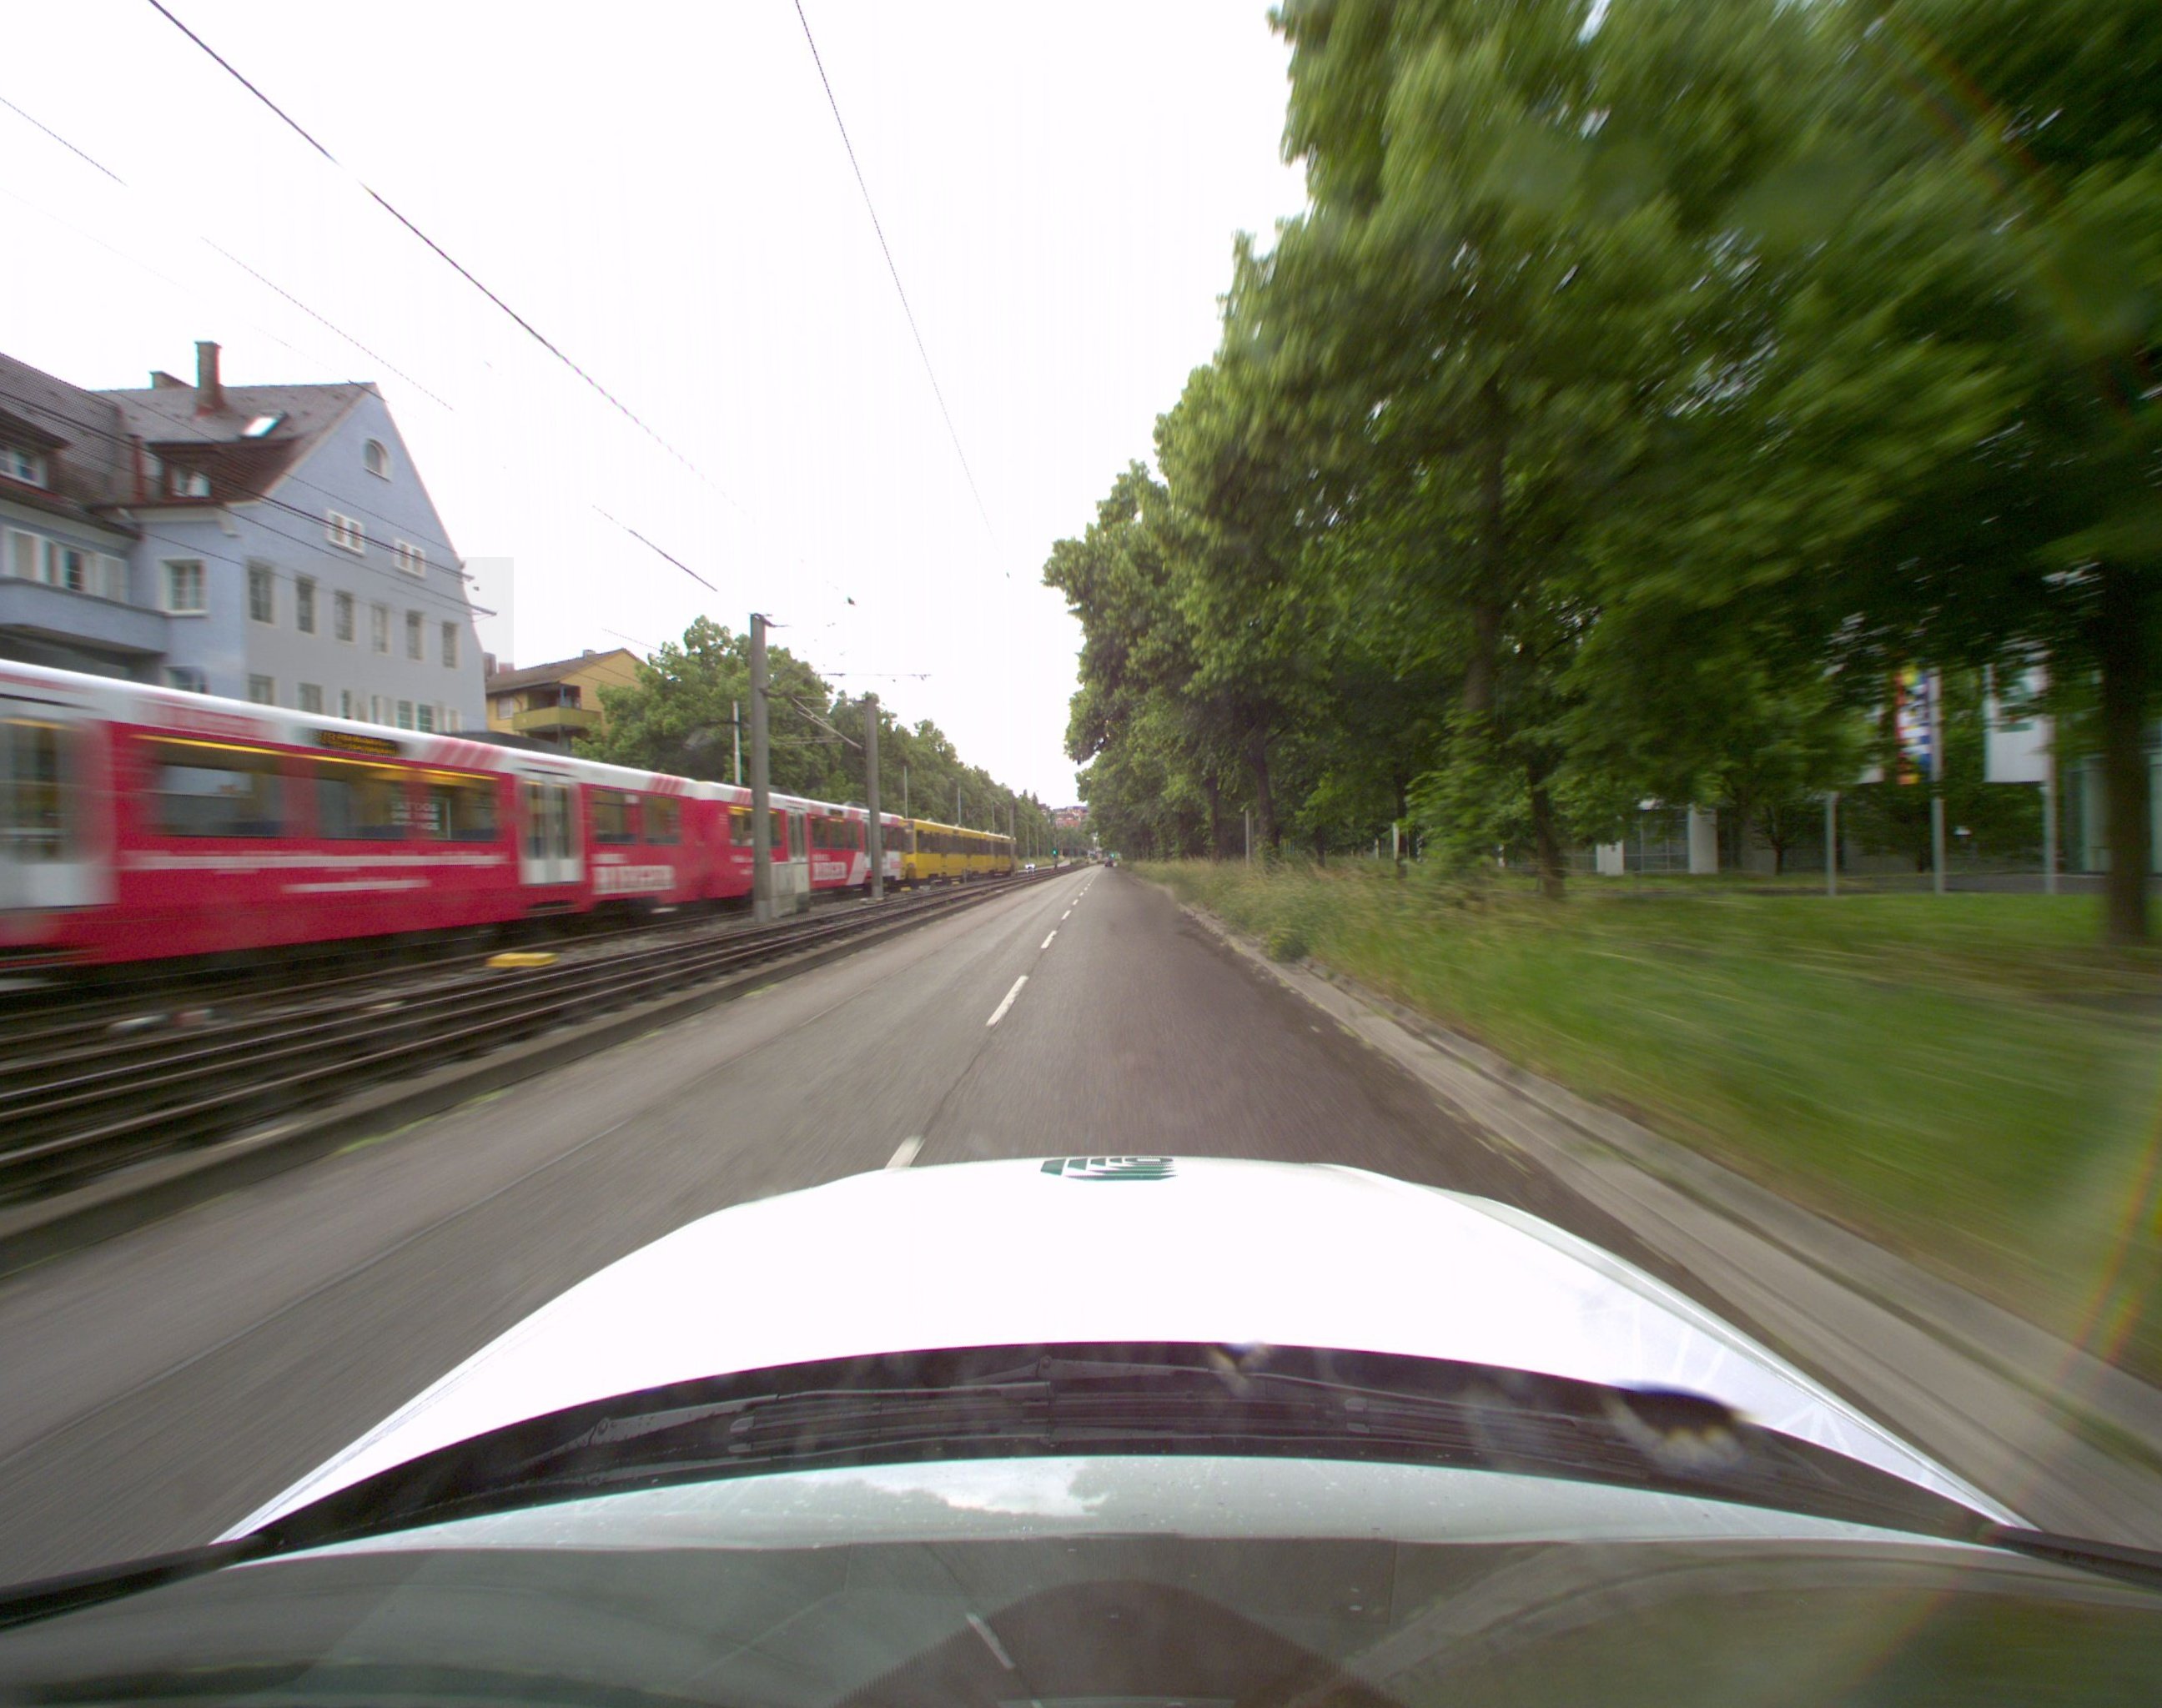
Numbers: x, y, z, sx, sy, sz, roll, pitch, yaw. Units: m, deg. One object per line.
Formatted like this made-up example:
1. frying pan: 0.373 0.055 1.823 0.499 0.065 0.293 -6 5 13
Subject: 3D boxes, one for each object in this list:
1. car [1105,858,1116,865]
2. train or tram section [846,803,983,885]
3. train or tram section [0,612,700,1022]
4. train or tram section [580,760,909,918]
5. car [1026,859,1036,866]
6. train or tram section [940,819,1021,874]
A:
1. car: 6.127 1.471 169.799 2.186 1.329 4.002 -1 0 1
2. train or tram section: -9.019 -0.498 48.032 2.955 3.810 19.116 -1 0 4
3. train or tram section: -11.331 -0.334 10.506 2.955 3.810 18.632 -1 0 4
4. train or tram section: -10.181 -0.405 29.185 2.955 3.810 18.632 -1 0 4
5. car: -10.603 1.817 172.506 1.470 1.436 3.911 -3 -1 2
6. train or tram section: -7.836 -0.591 67.325 2.955 3.810 19.538 -1 0 4
